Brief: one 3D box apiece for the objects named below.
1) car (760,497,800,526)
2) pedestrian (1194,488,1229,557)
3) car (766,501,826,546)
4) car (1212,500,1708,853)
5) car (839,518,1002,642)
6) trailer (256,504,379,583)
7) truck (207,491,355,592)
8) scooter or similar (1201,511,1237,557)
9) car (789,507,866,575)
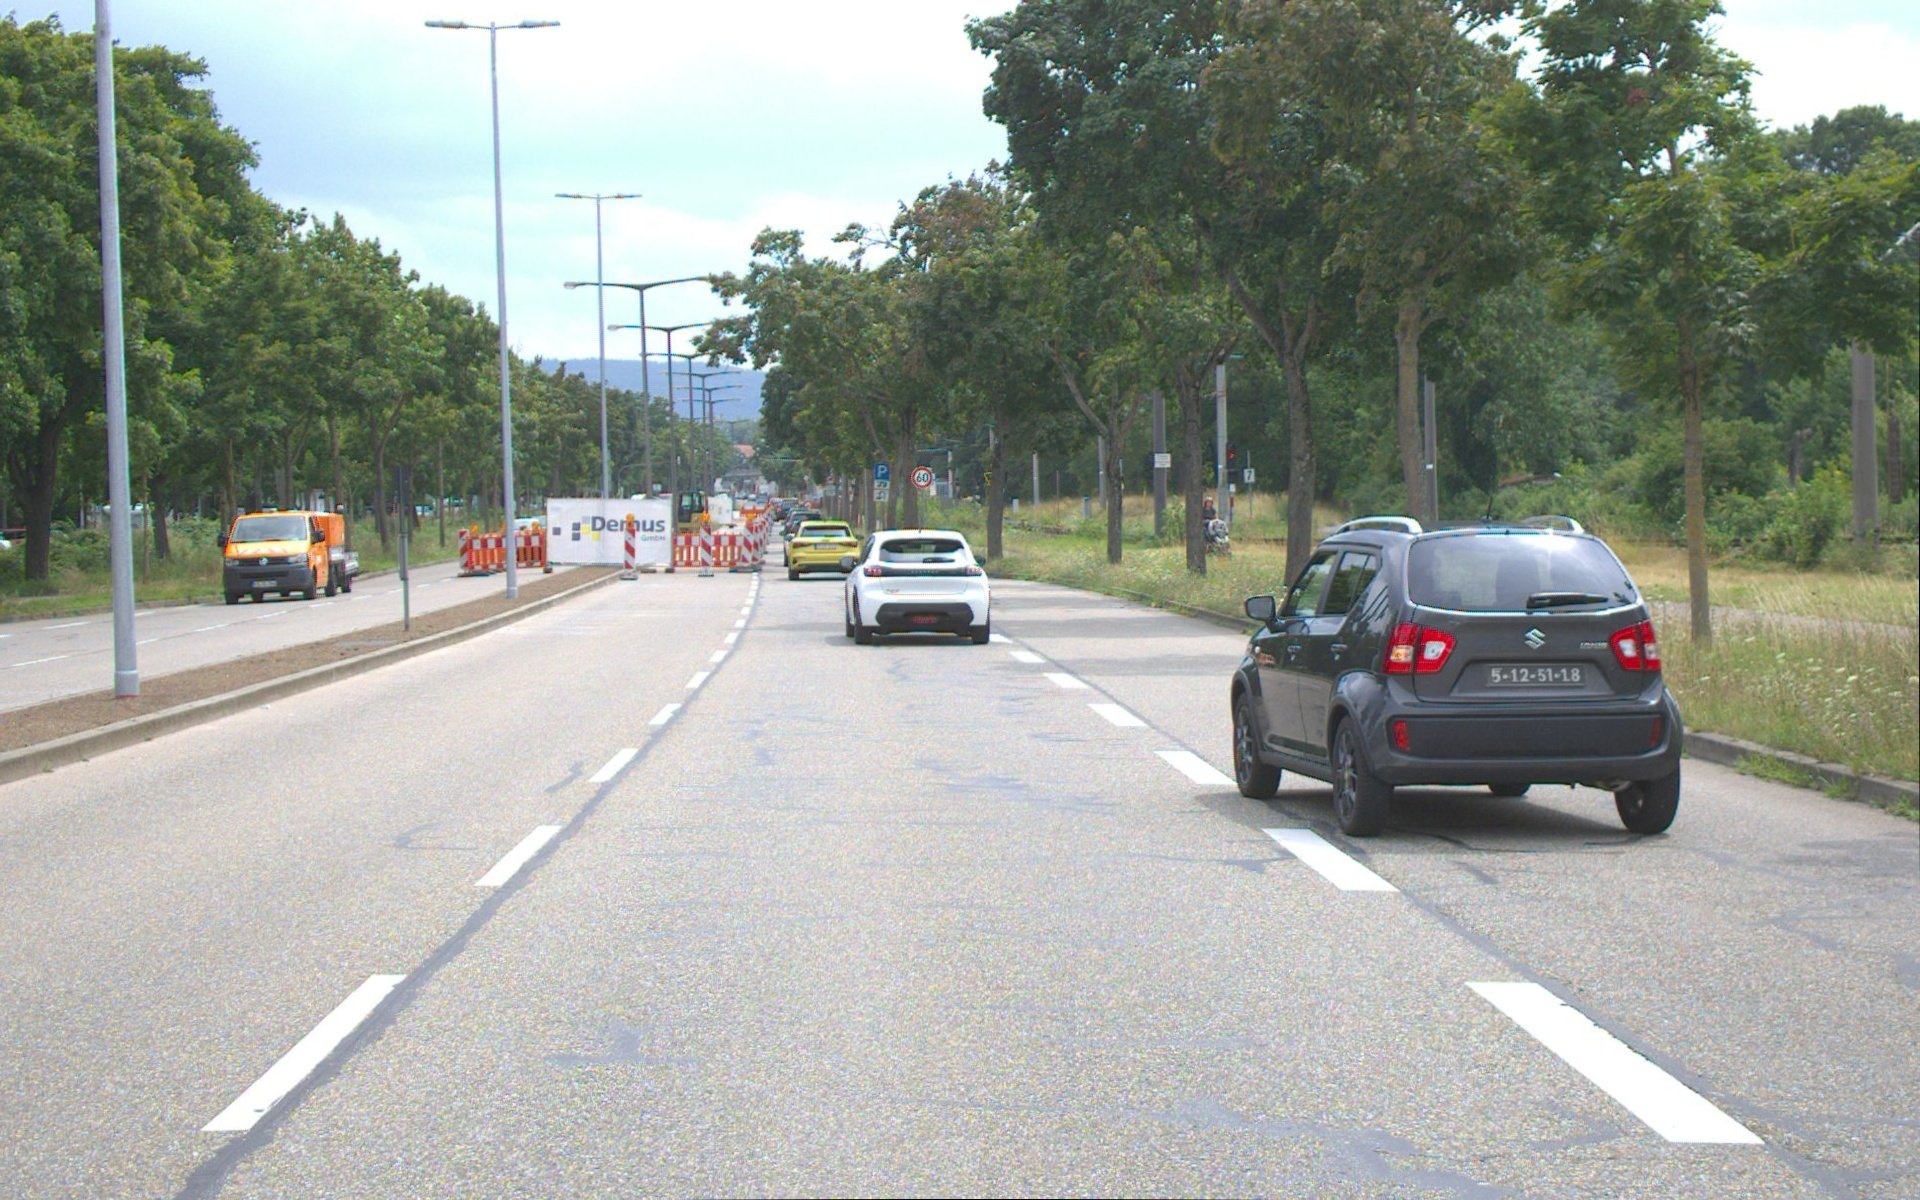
[{"bbox_3d":[-10.810,-5.325,206.520,2.206,1.678,4.001,-1,2,0],"label":"car"},{"bbox_3d":[6.232,-1.925,85.207,0.690,1.689,0.934,-1,2,-7],"label":"pedestrian"},{"bbox_3d":[-4.889,-2.292,103.054,1.667,1.265,4.001,-1,2,-1],"label":"car"},{"bbox_3d":[2.538,0.307,18.400,1.703,1.662,4.001,0,2,-6],"label":"car"},{"bbox_3d":[-0.559,-0.300,44.671,1.766,1.459,4.001,-1,2,-6],"label":"car"},{"bbox_3d":[-14.772,-1.320,79.233,2.062,1.684,3.895,-2,1,-1],"label":"trailer"},{"bbox_3d":[-14.684,-1.308,74.657,2.088,1.987,6.040,-2,2,-1],"label":"truck"},{"bbox_3d":[6.350,-1.621,84.287,0.681,1.126,0.934,-1,2,-7],"label":"scooter or similar"},{"bbox_3d":[-3.235,-1.469,84.398,1.793,1.556,4.001,-1,2,-1],"label":"car"}]
